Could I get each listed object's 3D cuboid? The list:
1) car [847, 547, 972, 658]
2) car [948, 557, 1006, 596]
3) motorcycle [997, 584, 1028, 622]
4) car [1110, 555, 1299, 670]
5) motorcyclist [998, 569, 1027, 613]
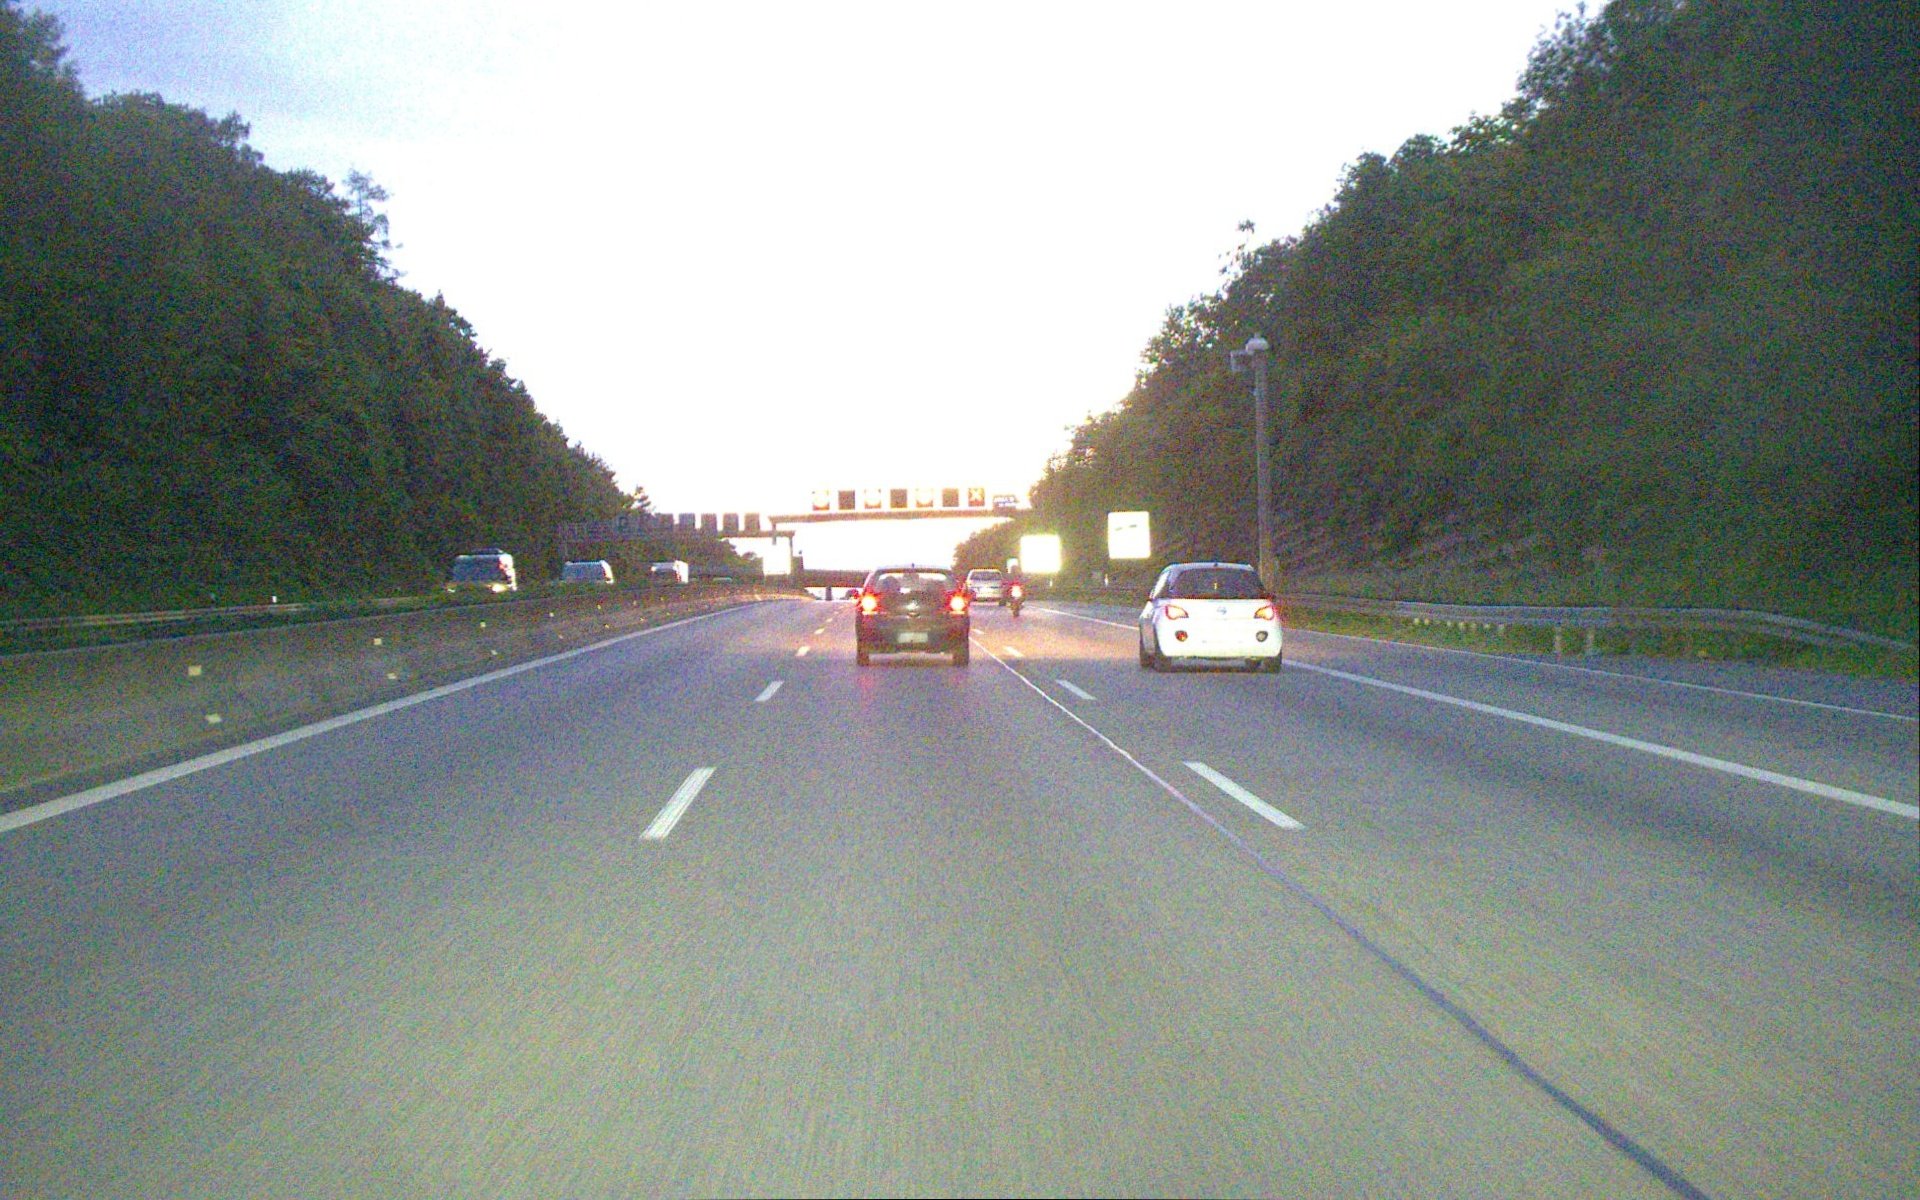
[{"bbox_3d":[-0.744,0.065,50.031,1.704,1.504,4.232,1,-1,-1],"label":"car"},{"bbox_3d":[0.683,-0.948,140.564,1.865,1.489,4.399,1,-1,-6],"label":"car"},{"bbox_3d":[1.544,0.093,101.766,0.829,1.130,2.476,0,0,-1],"label":"motorcycle"},{"bbox_3d":[3.294,0.189,47.066,1.825,1.471,4.399,1,-1,-6],"label":"car"},{"bbox_3d":[1.549,-0.268,101.694,0.829,1.287,1.190,0,0,-1],"label":"motorcyclist"}]
